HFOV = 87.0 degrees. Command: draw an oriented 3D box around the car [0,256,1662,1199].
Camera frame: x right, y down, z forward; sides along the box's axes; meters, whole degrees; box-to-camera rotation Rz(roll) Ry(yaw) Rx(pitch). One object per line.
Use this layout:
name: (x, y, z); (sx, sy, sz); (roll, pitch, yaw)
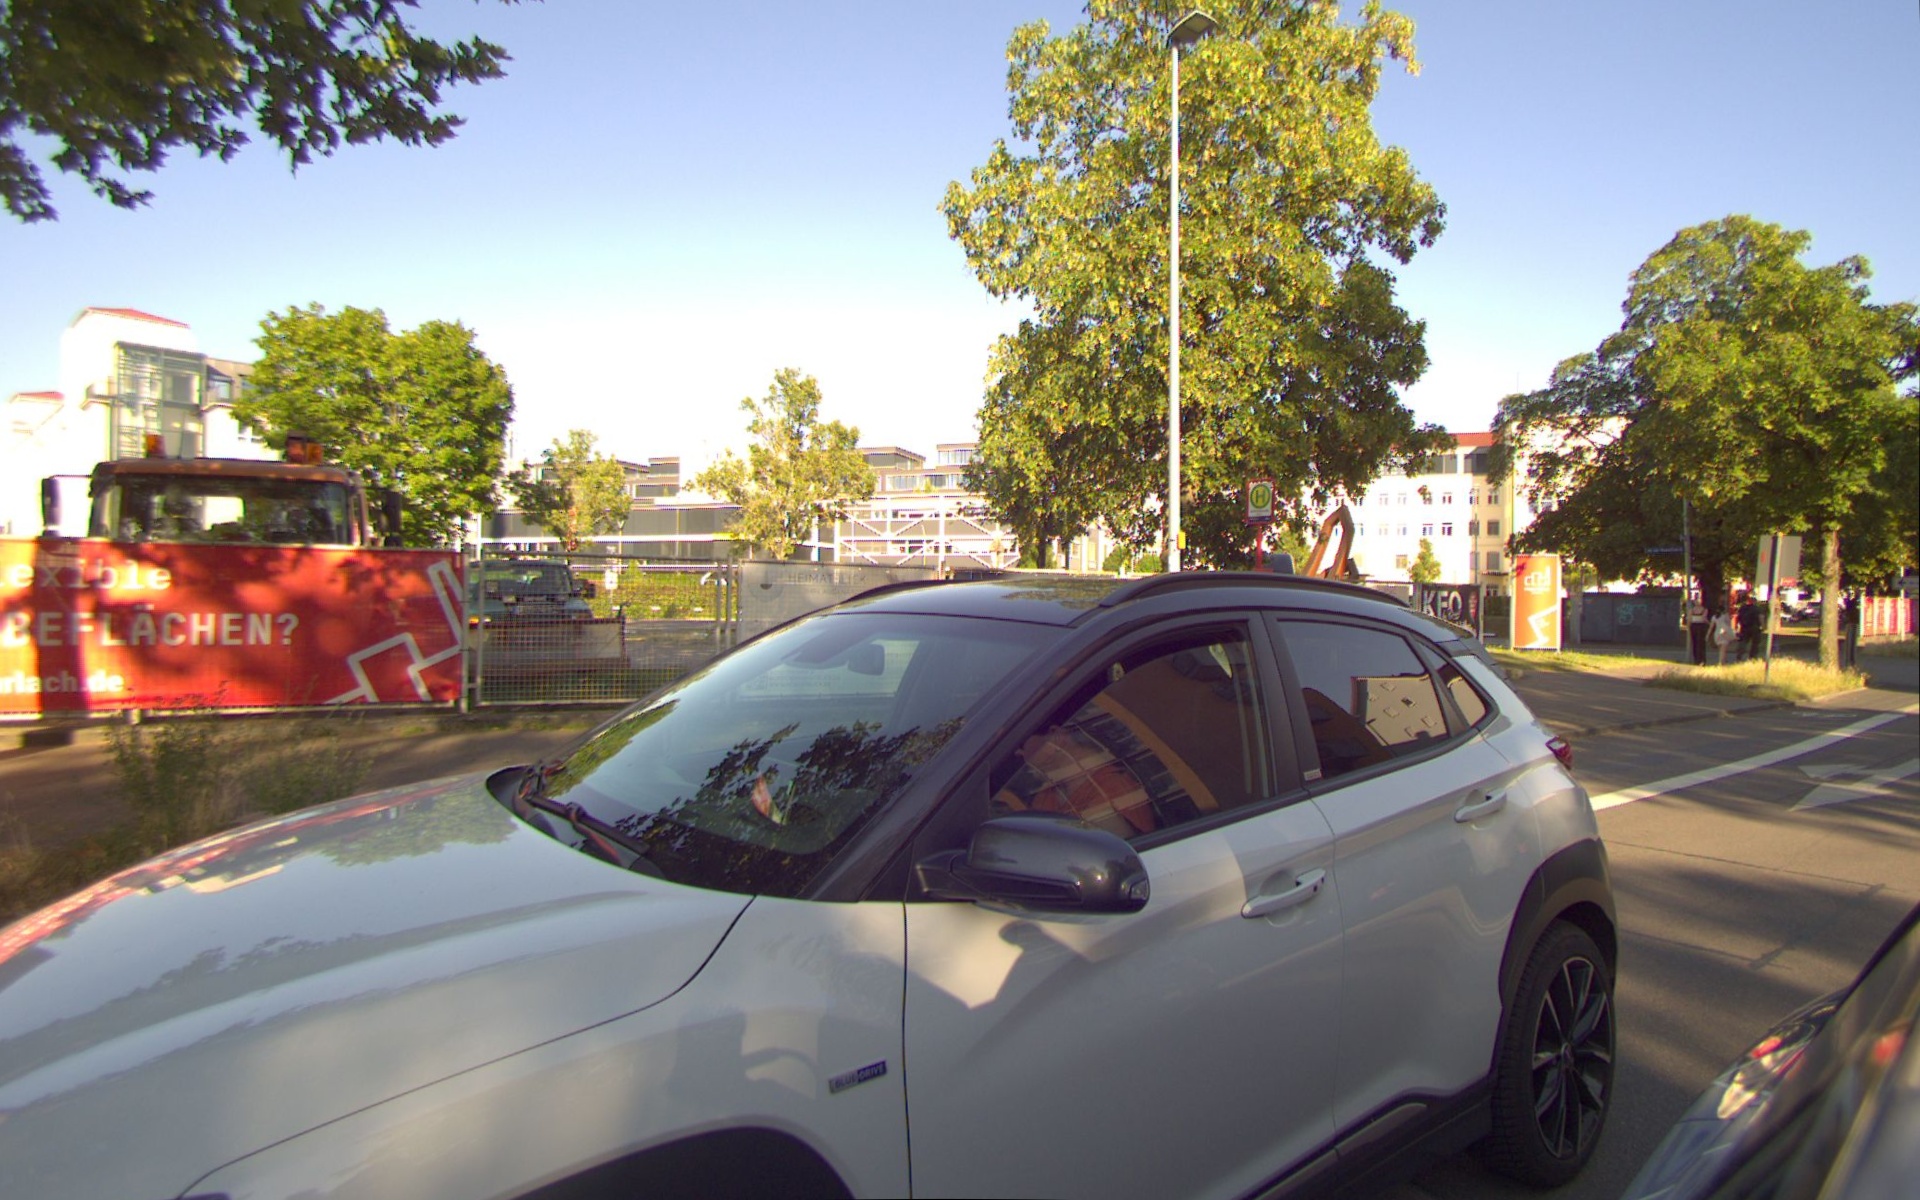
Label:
car: (-0.064, 0.616, 2.441); (3.893, 1.618, 1.894); (3, -2, -39)

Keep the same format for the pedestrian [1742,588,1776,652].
pedestrian: (21.398, 0.522, 27.100); (0.692, 1.689, 0.630); (0, 0, 37)

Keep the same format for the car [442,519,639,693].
car: (-5.669, 0.044, 13.295); (2.001, 1.851, 4.612); (0, 0, -28)

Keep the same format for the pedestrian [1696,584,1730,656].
pedestrian: (18.542, 0.476, 24.922); (0.607, 1.759, 0.629); (0, 0, 44)

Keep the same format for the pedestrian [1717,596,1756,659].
pedestrian: (18.466, 0.644, 24.069); (0.627, 1.452, 0.609); (0, 0, -40)

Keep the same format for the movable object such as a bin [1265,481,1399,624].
movable object such as a bin: (15.520, -1.881, 42.765); (3.910, 5.547, 6.022); (0, 0, 6)

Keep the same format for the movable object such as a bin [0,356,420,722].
movable object such as a bin: (-8.392, -0.549, 12.056); (3.154, 3.087, 6.295); (0, 0, -31)
